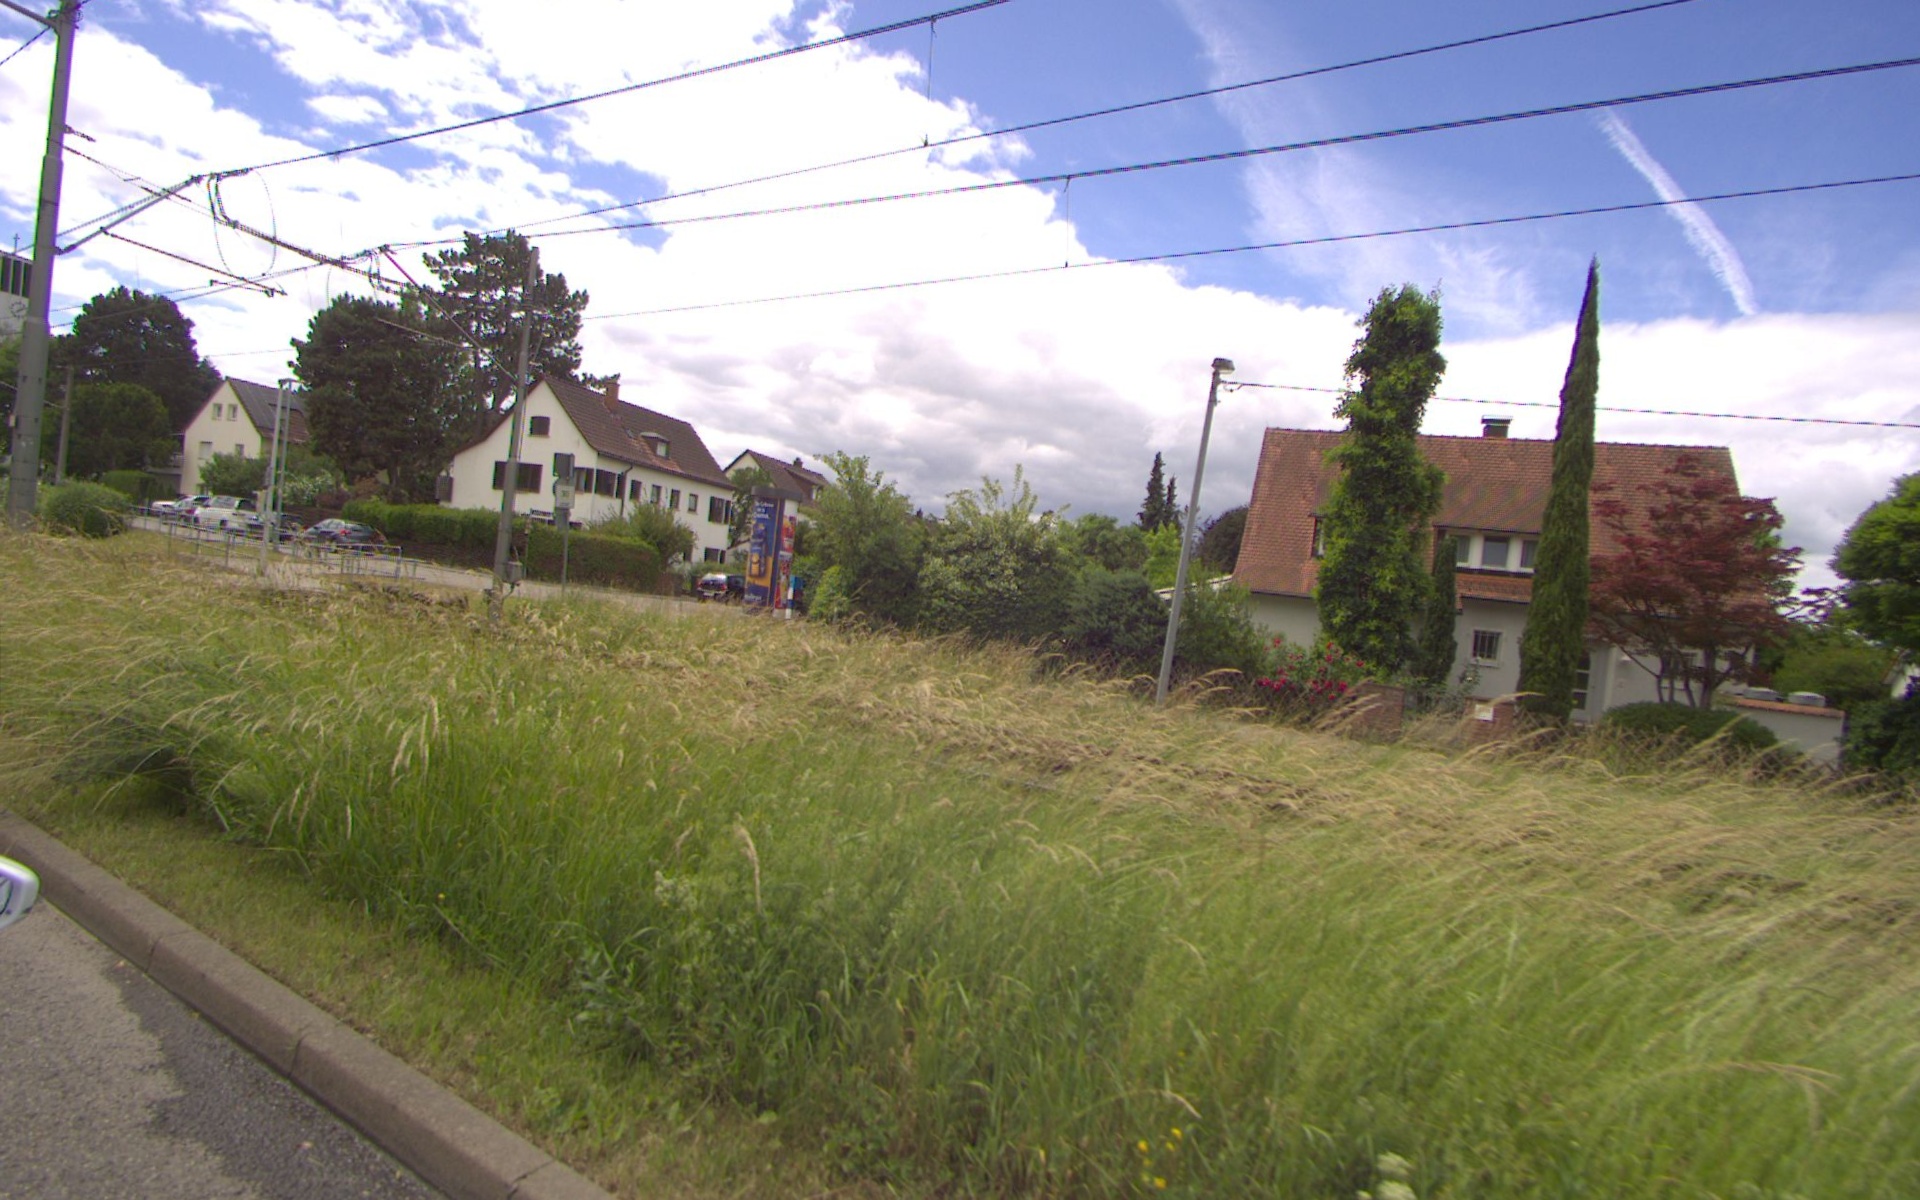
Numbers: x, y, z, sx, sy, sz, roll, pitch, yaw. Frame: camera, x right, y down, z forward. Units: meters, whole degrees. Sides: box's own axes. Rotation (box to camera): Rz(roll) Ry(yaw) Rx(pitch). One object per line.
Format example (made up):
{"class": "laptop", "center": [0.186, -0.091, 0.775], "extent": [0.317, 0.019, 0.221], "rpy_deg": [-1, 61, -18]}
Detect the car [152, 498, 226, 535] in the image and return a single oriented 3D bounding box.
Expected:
{"class": "car", "center": [-41.445, -4.486, 54.059], "extent": [3.936, 1.541, 1.884], "rpy_deg": [7, 0, 34]}

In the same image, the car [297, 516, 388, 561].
{"class": "car", "center": [-27.633, -2.742, 44.983], "extent": [3.936, 1.541, 1.884], "rpy_deg": [7, 0, 34]}

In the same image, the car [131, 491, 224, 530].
{"class": "car", "center": [-49.656, -5.651, 63.928], "extent": [1.716, 1.970, 4.332], "rpy_deg": [7, 3, 27]}

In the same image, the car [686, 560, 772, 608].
{"class": "car", "center": [-9.844, -0.659, 43.184], "extent": [1.791, 1.643, 3.732], "rpy_deg": [7, 0, 18]}

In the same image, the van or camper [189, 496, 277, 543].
{"class": "van or camper", "center": [-36.726, -4.075, 50.796], "extent": [4.966, 1.848, 1.906], "rpy_deg": [7, 0, 34]}

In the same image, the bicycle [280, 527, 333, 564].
{"class": "bicycle", "center": [-22.893, -1.923, 35.218], "extent": [2.499, 1.058, 0.538], "rpy_deg": [7, 1, 34]}

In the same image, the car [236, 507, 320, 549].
{"class": "car", "center": [-32.748, -3.453, 48.288], "extent": [3.936, 1.541, 1.884], "rpy_deg": [7, 0, 34]}
